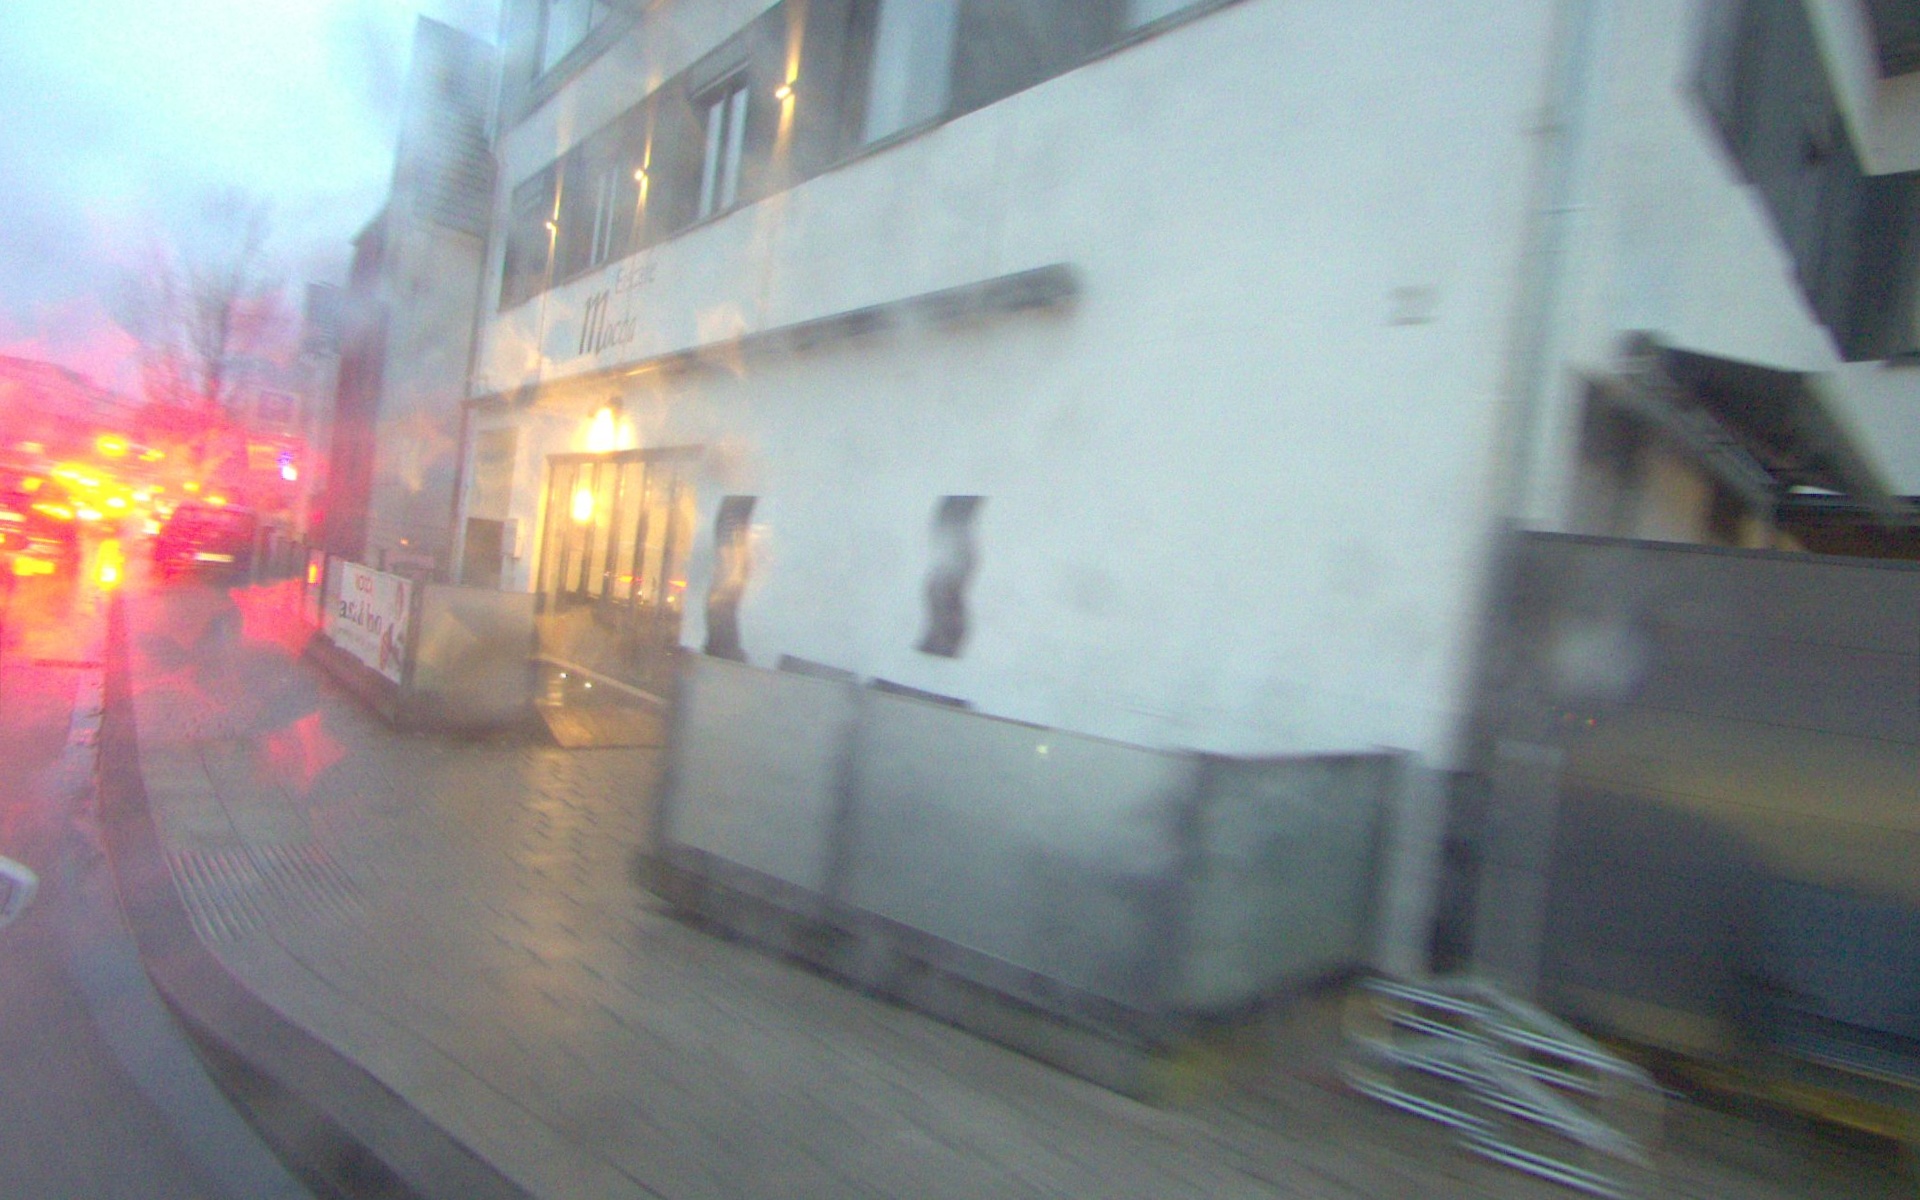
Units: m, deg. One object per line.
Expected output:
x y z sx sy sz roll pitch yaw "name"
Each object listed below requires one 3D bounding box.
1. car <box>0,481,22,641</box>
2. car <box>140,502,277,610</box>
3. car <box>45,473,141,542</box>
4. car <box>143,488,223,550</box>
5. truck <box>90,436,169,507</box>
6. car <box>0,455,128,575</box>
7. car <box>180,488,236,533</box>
-8.567 -0.328 7.817 1.705 1.439 3.963 9 0 -43 "car"
-14.368 -0.886 19.265 1.802 1.590 3.809 8 1 -38 "car"
-25.585 -2.752 29.802 1.713 1.652 3.958 8 1 -37 "car"
-23.344 -2.473 30.284 1.682 1.485 3.679 8 1 -37 "car"
-43.414 -6.693 52.735 2.702 3.047 5.928 8 1 -38 "truck"
-15.495 -1.502 16.952 1.906 1.635 3.908 8 1 -37 "car"
-31.588 -3.781 42.268 1.682 1.485 3.679 8 1 -37 "car"
